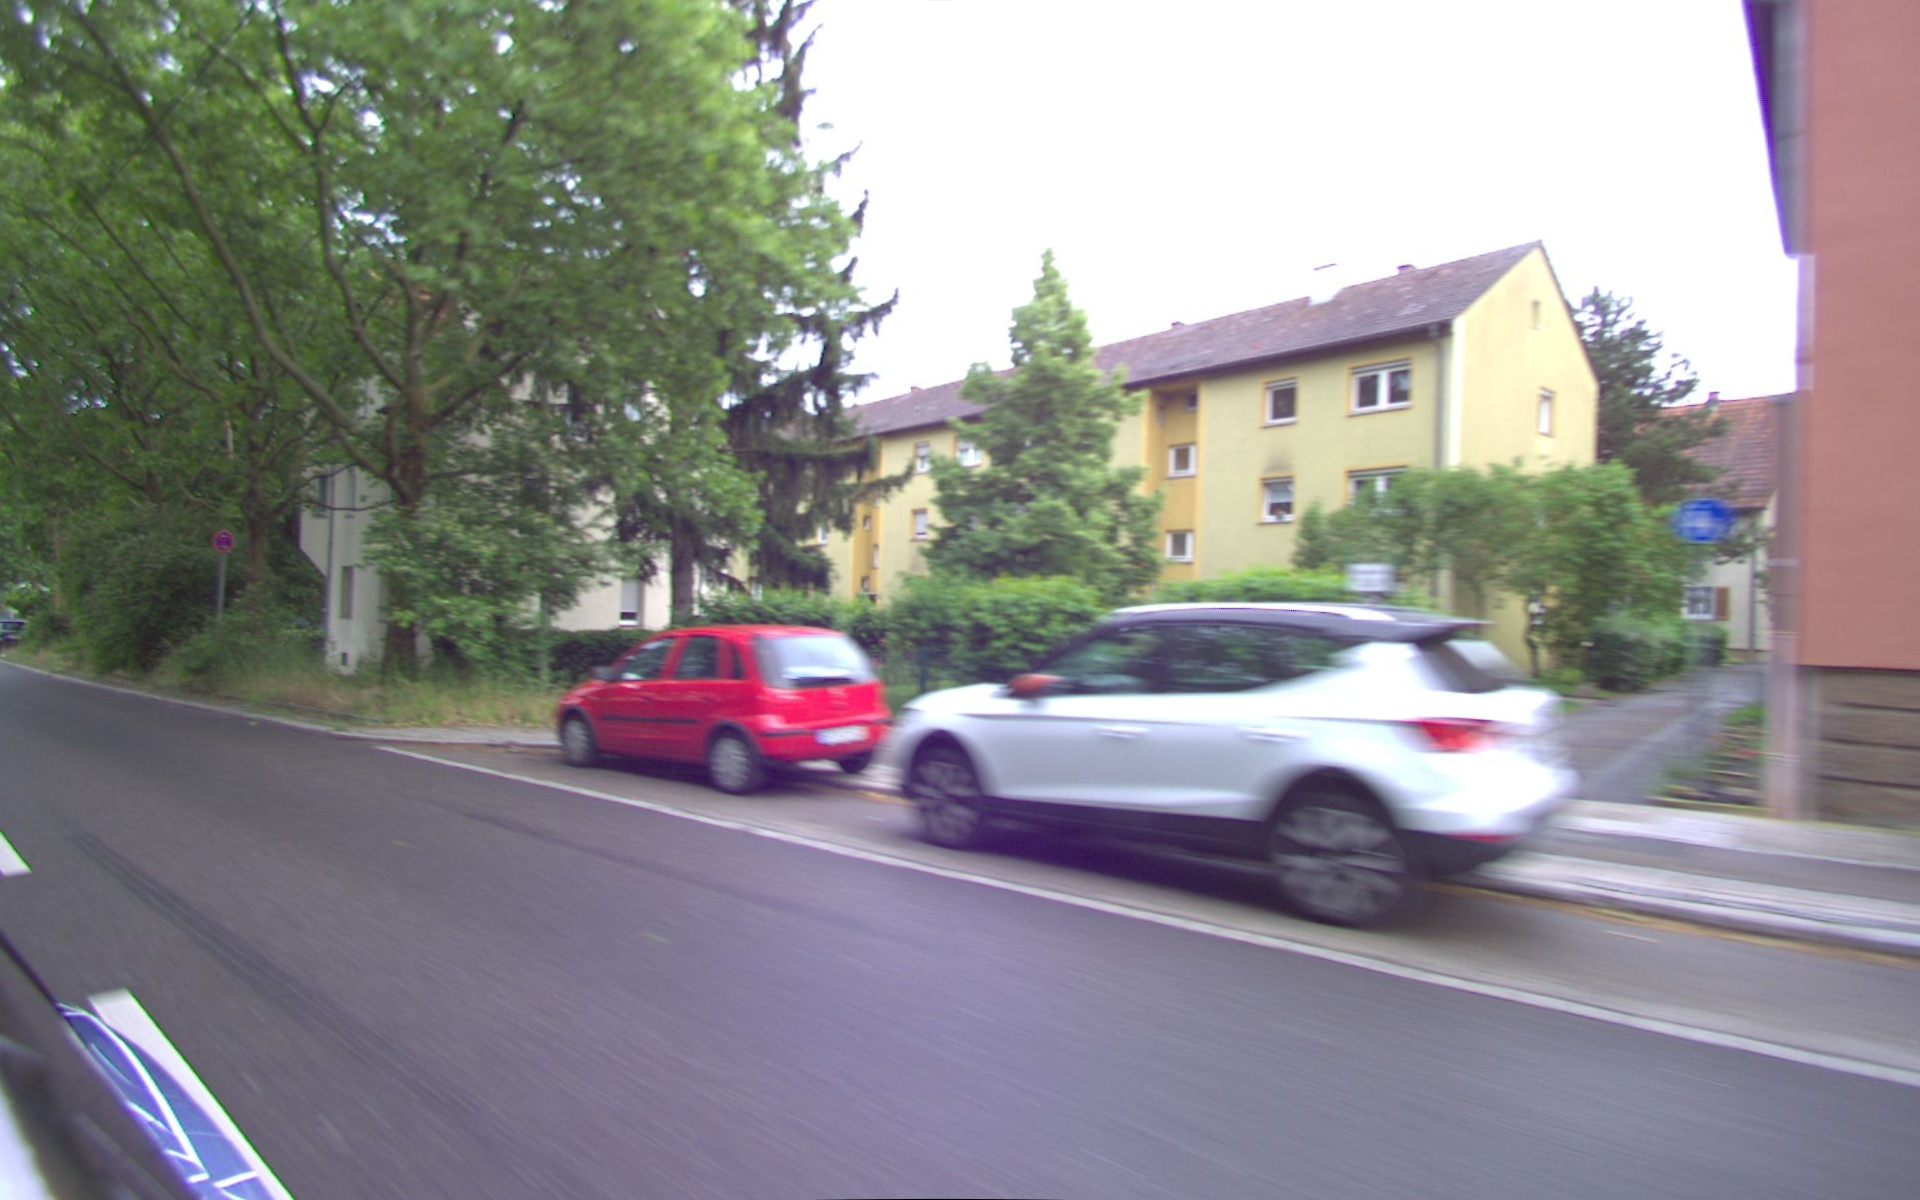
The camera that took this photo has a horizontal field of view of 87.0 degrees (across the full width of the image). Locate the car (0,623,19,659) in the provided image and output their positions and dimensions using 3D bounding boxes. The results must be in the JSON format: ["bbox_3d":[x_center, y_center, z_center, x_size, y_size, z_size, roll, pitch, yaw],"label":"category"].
[{"bbox_3d":[-43.210,1.777,44.930,3.873,1.519,1.654,-1,-5,42],"label":"car"}]

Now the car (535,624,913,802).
[{"bbox_3d":[-2.383,0.930,9.766,3.755,1.384,1.622,-1,-1,40],"label":"car"}]

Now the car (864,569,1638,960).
[{"bbox_3d":[1.457,0.769,6.055,4.116,1.554,1.673,-2,-5,42],"label":"car"}]

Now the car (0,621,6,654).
[{"bbox_3d":[-47.581,1.811,49.073,4.123,1.519,1.654,-1,0,43],"label":"car"}]

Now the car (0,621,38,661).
[{"bbox_3d":[-39.550,1.645,41.786,4.016,1.549,1.630,-1,-5,41],"label":"car"}]
